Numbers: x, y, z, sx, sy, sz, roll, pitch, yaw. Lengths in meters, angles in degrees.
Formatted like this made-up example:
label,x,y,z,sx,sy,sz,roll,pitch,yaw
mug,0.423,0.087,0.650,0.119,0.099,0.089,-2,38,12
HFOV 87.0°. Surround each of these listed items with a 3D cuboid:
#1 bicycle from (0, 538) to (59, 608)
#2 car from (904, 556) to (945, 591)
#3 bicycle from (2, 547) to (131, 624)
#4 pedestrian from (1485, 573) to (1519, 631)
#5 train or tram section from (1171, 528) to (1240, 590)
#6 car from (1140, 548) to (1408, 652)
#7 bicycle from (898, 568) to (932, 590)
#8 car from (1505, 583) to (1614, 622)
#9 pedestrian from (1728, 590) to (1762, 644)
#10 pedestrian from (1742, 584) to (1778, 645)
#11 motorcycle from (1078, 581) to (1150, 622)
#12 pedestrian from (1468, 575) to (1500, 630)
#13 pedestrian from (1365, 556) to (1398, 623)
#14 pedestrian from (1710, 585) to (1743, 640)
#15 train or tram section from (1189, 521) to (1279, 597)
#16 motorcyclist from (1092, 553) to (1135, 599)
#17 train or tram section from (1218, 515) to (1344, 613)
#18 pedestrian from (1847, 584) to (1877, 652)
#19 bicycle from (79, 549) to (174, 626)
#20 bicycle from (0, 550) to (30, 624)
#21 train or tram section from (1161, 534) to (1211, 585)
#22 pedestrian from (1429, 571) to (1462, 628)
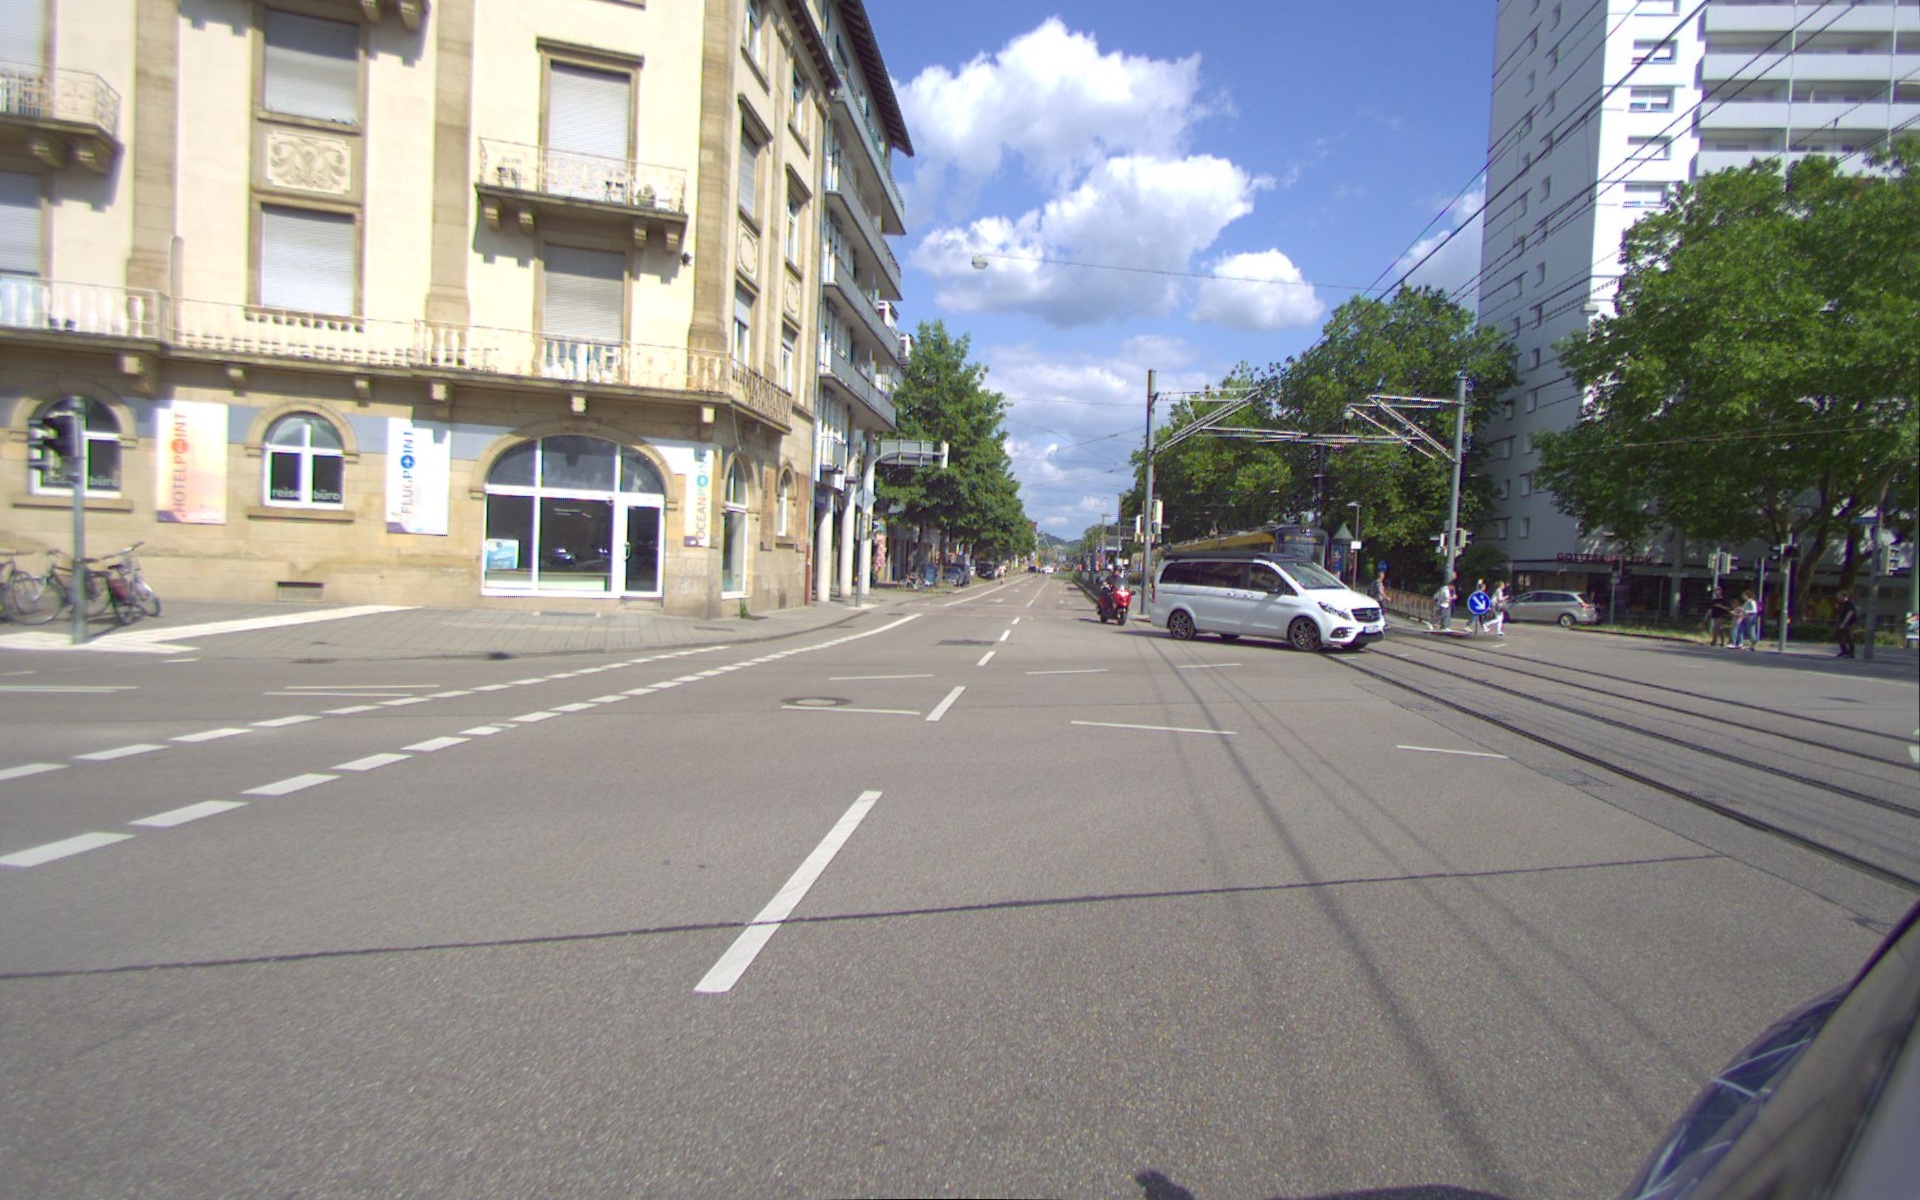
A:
label,x,y,z,sx,sy,sz,roll,pitch,yaw
bicycle,-15.197,-0.444,15.610,1.888,1.030,0.542,2,4,-15
car,-2.044,-1.567,59.394,1.820,1.811,3.996,5,2,5
bicycle,-13.621,-0.253,15.498,0.597,1.030,1.882,2,4,-10
pedestrian,16.582,0.051,30.982,0.660,1.723,0.646,3,2,9
train or tram section,16.049,-2.728,67.032,2.767,3.604,12.138,3,2,6
car,6.443,-0.106,21.372,1.964,1.914,5.169,0,3,-38
bicycle,-2.294,-1.080,51.909,1.664,0.998,0.497,3,2,4
car,27.228,0.071,46.030,1.830,1.508,3.842,1,3,-44
pedestrian,24.243,0.525,31.259,0.501,1.617,0.558,2,2,-15
pedestrian,23.774,0.434,30.072,0.518,1.756,0.558,2,2,-15
motorcycle,4.256,0.026,28.252,0.684,0.989,2.511,1,3,-25
pedestrian,17.116,0.073,33.053,0.660,1.723,0.646,3,2,9
pedestrian,13.146,-0.330,31.575,0.729,2.038,0.701,3,2,12
pedestrian,24.093,0.380,31.813,0.501,1.691,0.558,2,2,-15
train or tram section,14.763,-2.239,55.467,2.766,3.604,11.168,2,2,5
motorcyclist,4.279,-0.674,28.219,0.684,1.232,0.979,1,3,-26
train or tram section,13.674,-1.604,44.252,2.756,3.604,11.363,2,2,6
pedestrian,25.190,0.492,28.264,0.547,1.847,0.481,1,2,-42
bicycle,-12.871,-0.219,15.681,0.597,1.030,1.882,2,5,-22
bicycle,-14.015,-0.147,13.915,0.592,1.030,1.875,4,4,7
train or tram section,17.204,-3.107,77.526,2.728,3.525,8.893,3,2,7
pedestrian,15.028,-0.026,31.358,0.660,1.723,0.646,3,2,9
